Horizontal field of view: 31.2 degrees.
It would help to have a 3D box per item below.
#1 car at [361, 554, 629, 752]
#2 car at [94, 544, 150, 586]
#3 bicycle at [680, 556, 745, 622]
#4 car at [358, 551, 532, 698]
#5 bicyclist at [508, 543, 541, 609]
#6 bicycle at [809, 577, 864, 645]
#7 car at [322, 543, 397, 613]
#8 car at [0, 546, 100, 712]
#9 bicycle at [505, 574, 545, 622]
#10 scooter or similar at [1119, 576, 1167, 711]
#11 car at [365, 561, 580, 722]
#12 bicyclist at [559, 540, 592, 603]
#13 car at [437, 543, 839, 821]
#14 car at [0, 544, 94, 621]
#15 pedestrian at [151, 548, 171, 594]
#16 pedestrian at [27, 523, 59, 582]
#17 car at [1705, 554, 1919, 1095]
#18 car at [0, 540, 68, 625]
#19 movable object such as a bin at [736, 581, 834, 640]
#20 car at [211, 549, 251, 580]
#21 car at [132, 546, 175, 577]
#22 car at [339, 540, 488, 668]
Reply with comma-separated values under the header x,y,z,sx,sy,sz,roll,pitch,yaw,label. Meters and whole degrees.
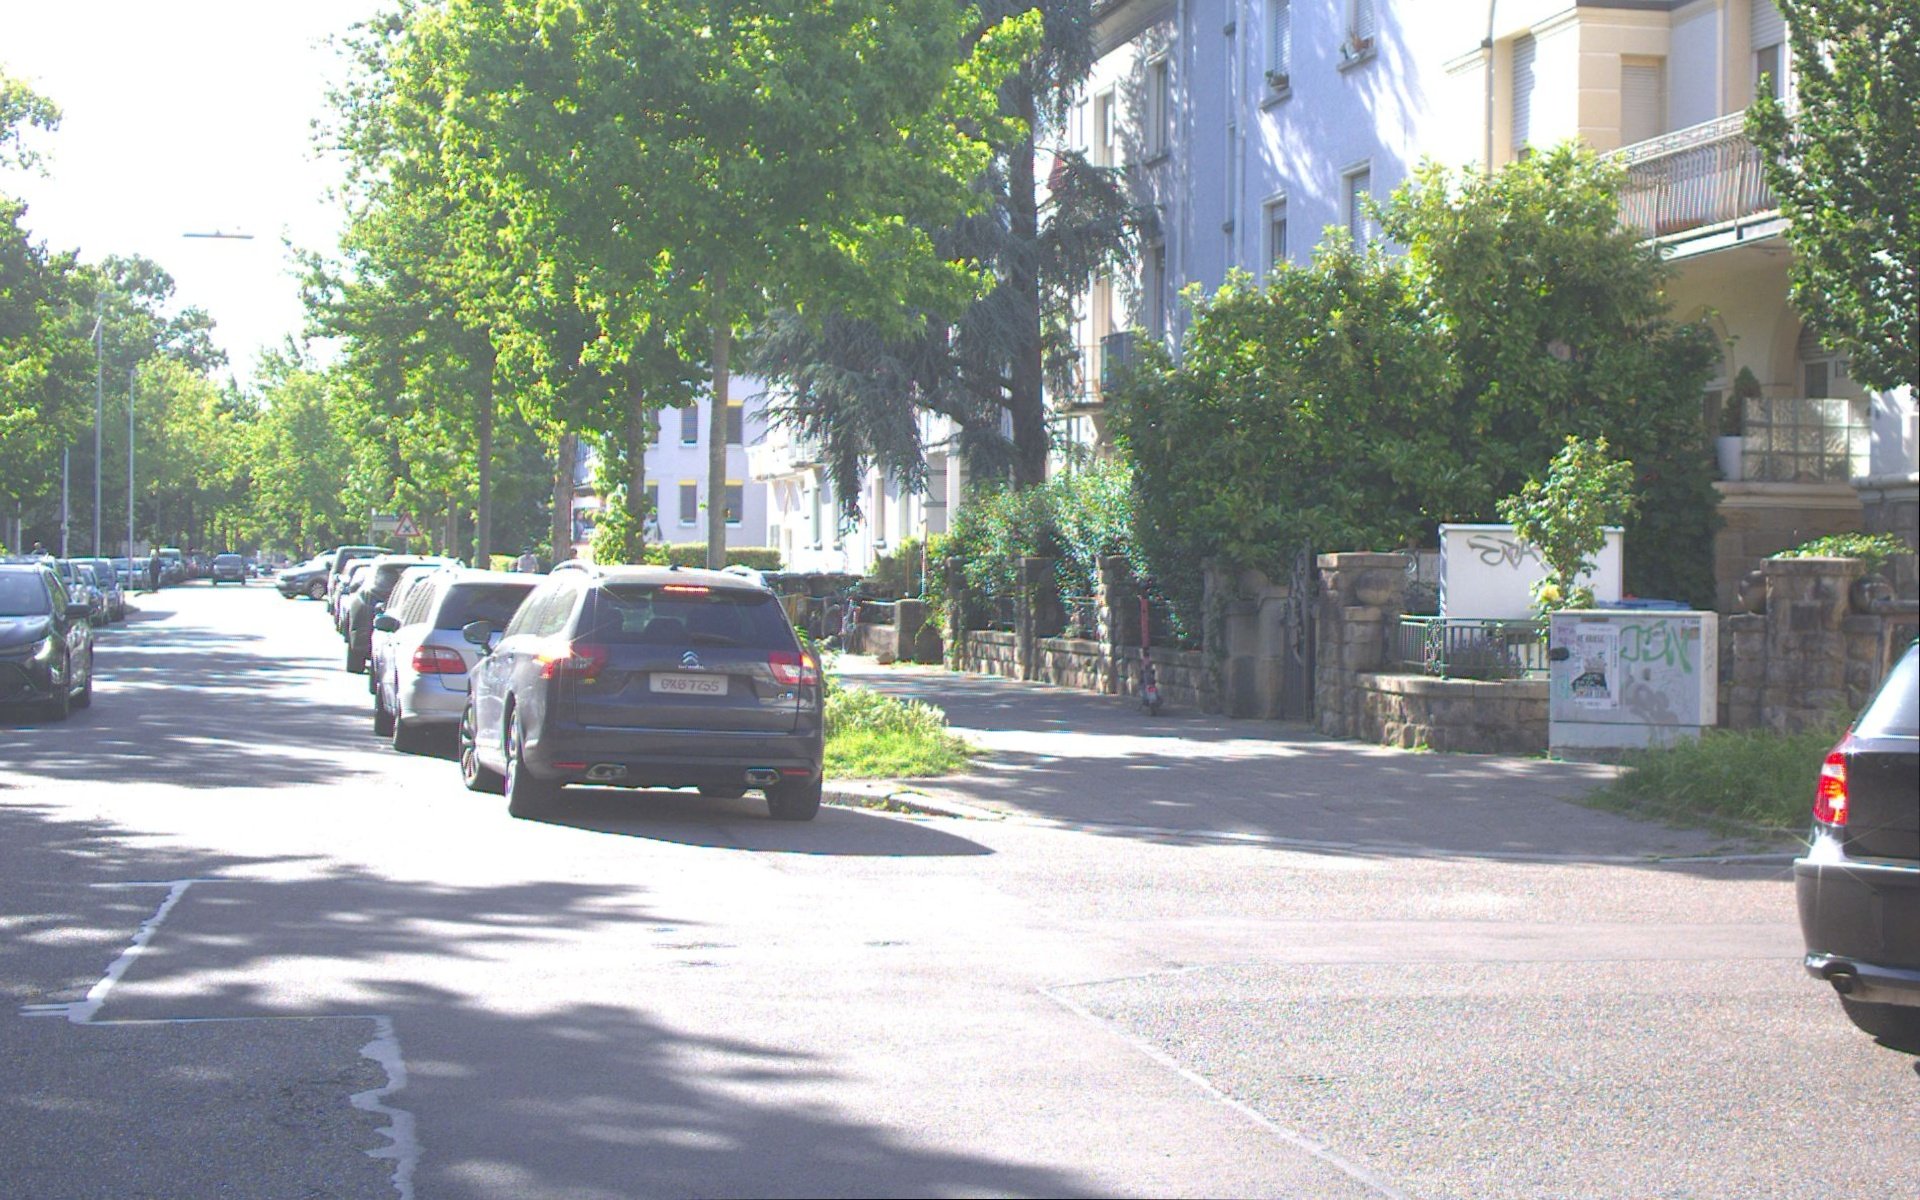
x,y,z,sx,sy,sz,roll,pitch,yaw,label
-4.023,0.382,29.107,1.821,1.464,4.911,2,0,-12,car
-34.076,-1.415,139.891,1.993,1.665,4.001,0,1,-11,car
-4.841,-0.227,67.107,0.838,1.253,2.232,1,0,-14,bicycle
-5.984,0.241,39.644,1.653,1.527,3.970,3,0,-12,car
-10.681,-0.581,84.333,0.676,1.604,0.922,0,1,-14,bicyclist
-1.859,0.155,51.511,0.581,0.971,1.904,0,1,-9,bicycle
-17.229,-0.637,98.476,1.970,1.942,4.987,1,1,-12,car
-9.111,0.235,32.287,1.808,1.441,4.368,-1,1,-12,car
-10.665,-0.065,84.295,0.683,1.149,2.404,0,1,-14,bicycle
1.674,0.383,31.297,0.401,1.181,1.205,0,1,4,scooter or similar
-4.890,0.359,34.022,1.710,1.406,4.863,2,0,-12,car
-9.394,-0.697,84.007,0.676,1.548,1.022,0,1,-14,bicyclist
-2.146,0.458,21.536,1.895,1.519,4.968,1,0,-12,car
-19.313,-0.391,72.527,1.709,1.539,3.931,-2,1,-10,car
-33.054,-1.202,142.176,0.715,1.894,0.837,0,1,-20,pedestrian
-31.443,-1.627,117.839,0.859,2.007,0.981,0,1,-2,pedestrian
4.306,0.610,10.853,3.989,1.518,1.788,-1,1,-41,car
-18.324,-0.351,66.534,1.811,1.590,4.234,0,1,-11,car
-2.780,0.162,54.910,1.222,0.901,1.663,1,1,10,movable object such as a bin
-37.832,-1.840,178.380,1.782,1.603,4.001,0,1,-15,car
-41.339,-1.979,176.259,1.993,1.579,4.001,0,1,-11,car
-7.810,0.009,49.051,1.925,1.646,5.096,2,1,-9,car
